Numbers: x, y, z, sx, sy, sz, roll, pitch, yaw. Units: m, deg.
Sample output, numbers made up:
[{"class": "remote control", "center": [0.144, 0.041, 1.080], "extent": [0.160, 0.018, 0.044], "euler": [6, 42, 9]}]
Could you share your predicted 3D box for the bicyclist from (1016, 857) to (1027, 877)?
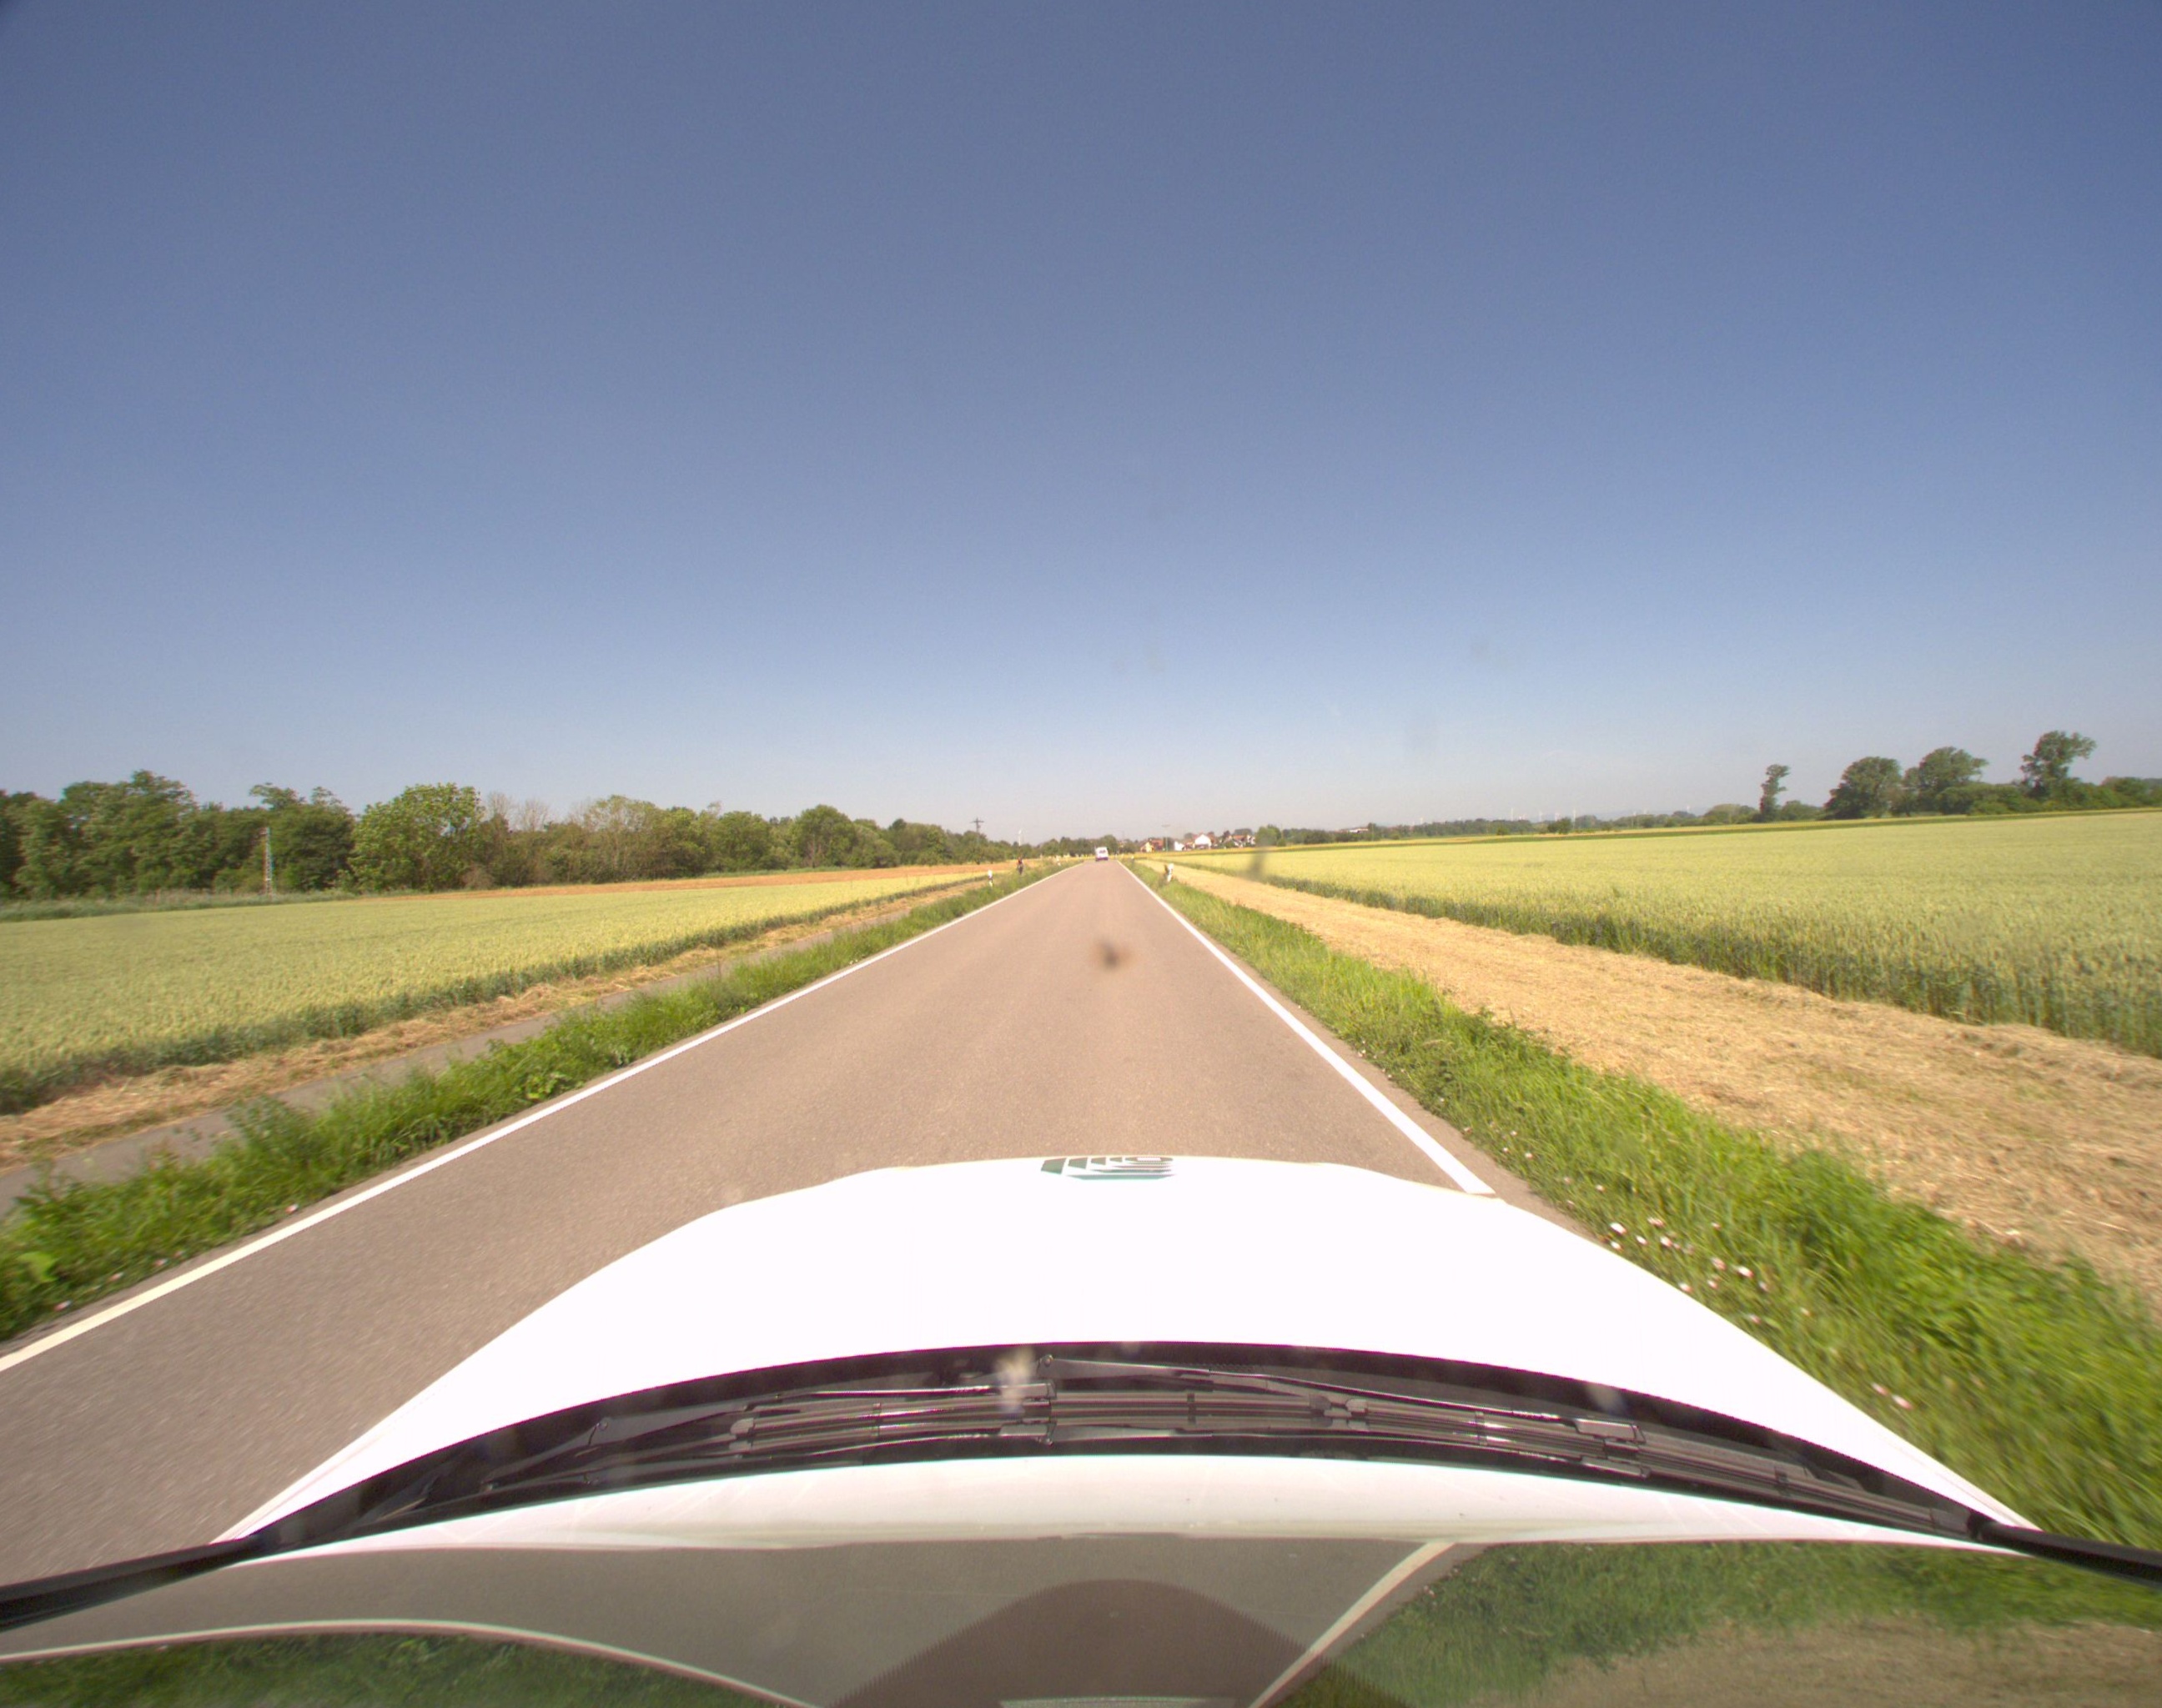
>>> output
[{"class": "bicyclist", "center": [-5.118, 1.079, 69.982], "extent": [0.757, 1.672, 1.089], "euler": [-4, 0, 2]}]

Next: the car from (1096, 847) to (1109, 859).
[{"class": "car", "center": [4.083, -0.158, 154.205], "extent": [2.102, 2.304, 5.490], "euler": [-1, 0, -2]}]

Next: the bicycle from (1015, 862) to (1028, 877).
[{"class": "bicycle", "center": [-5.117, 1.301, 70.106], "extent": [0.756, 1.236, 2.395], "euler": [-4, 0, 2]}]
